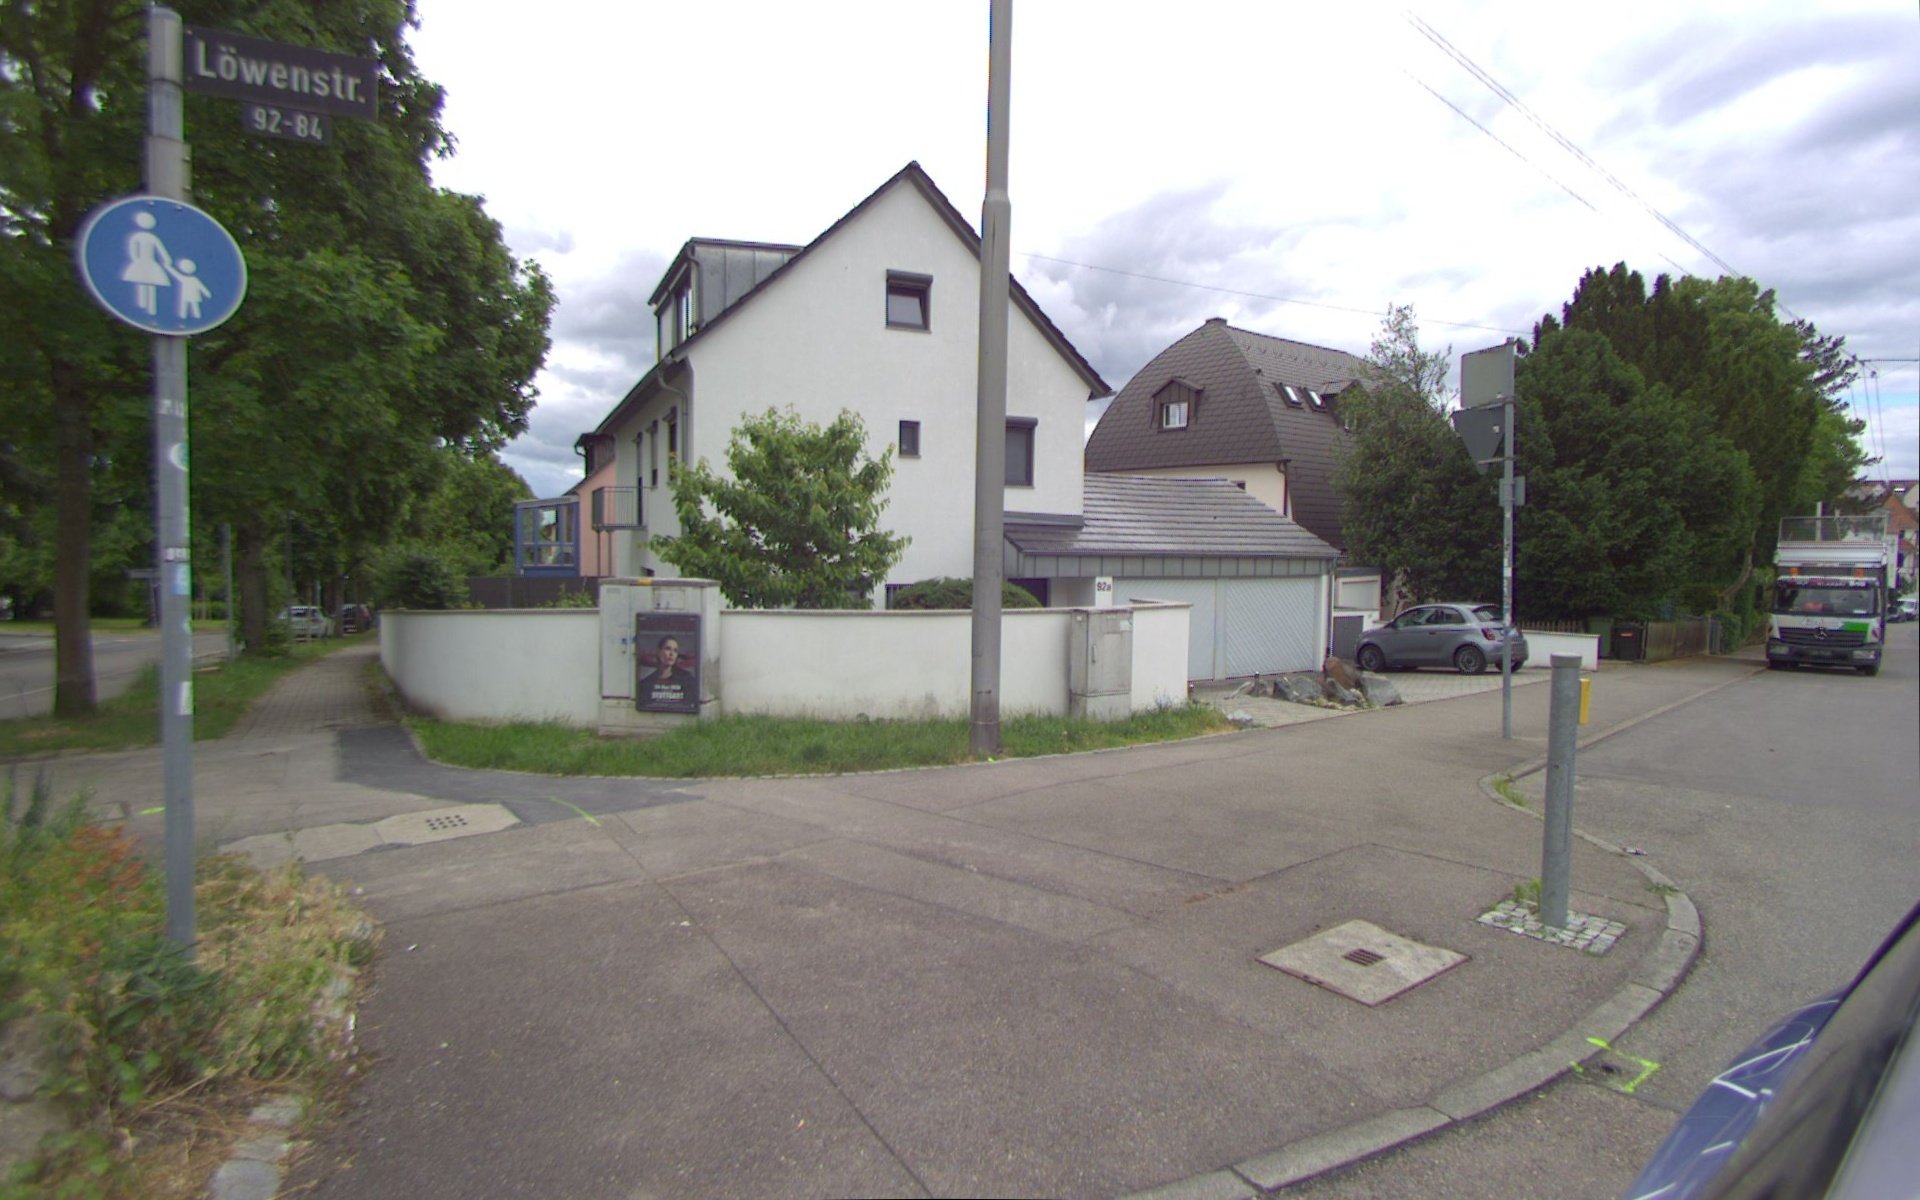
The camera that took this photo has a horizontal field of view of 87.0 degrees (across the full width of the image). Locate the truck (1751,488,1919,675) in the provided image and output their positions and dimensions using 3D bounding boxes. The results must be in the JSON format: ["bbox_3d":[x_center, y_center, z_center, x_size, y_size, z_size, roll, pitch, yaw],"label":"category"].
[{"bbox_3d":[24.949,-0.527,28.855,3.143,4.607,7.833,4,2,41],"label":"truck"}]

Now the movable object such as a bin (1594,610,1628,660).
[{"bbox_3d":[16.512,0.887,25.679,0.597,1.223,0.937,-1,-3,41],"label":"movable object such as a bin"}]

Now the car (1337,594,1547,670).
[{"bbox_3d":[10.457,0.708,22.218,1.659,1.516,3.859,1,-2,-32],"label":"car"}]

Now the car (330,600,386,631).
[{"bbox_3d":[-31.814,0.791,53.605,1.723,1.579,3.853,0,0,-18],"label":"car"}]

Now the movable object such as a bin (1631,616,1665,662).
[{"bbox_3d":[17.148,0.970,25.238,0.597,1.119,0.937,-1,-3,41],"label":"movable object such as a bin"}]

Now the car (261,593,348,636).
[{"bbox_3d":[-27.058,0.559,41.931,1.958,1.571,4.010,1,2,-17],"label":"car"}]

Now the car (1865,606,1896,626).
[{"bbox_3d":[80.928,1.388,88.966,1.871,1.571,3.764,3,2,43],"label":"car"}]

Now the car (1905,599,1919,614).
[{"bbox_3d":[102.910,0.703,108.816,1.871,1.571,3.764,3,2,43],"label":"car"}]
